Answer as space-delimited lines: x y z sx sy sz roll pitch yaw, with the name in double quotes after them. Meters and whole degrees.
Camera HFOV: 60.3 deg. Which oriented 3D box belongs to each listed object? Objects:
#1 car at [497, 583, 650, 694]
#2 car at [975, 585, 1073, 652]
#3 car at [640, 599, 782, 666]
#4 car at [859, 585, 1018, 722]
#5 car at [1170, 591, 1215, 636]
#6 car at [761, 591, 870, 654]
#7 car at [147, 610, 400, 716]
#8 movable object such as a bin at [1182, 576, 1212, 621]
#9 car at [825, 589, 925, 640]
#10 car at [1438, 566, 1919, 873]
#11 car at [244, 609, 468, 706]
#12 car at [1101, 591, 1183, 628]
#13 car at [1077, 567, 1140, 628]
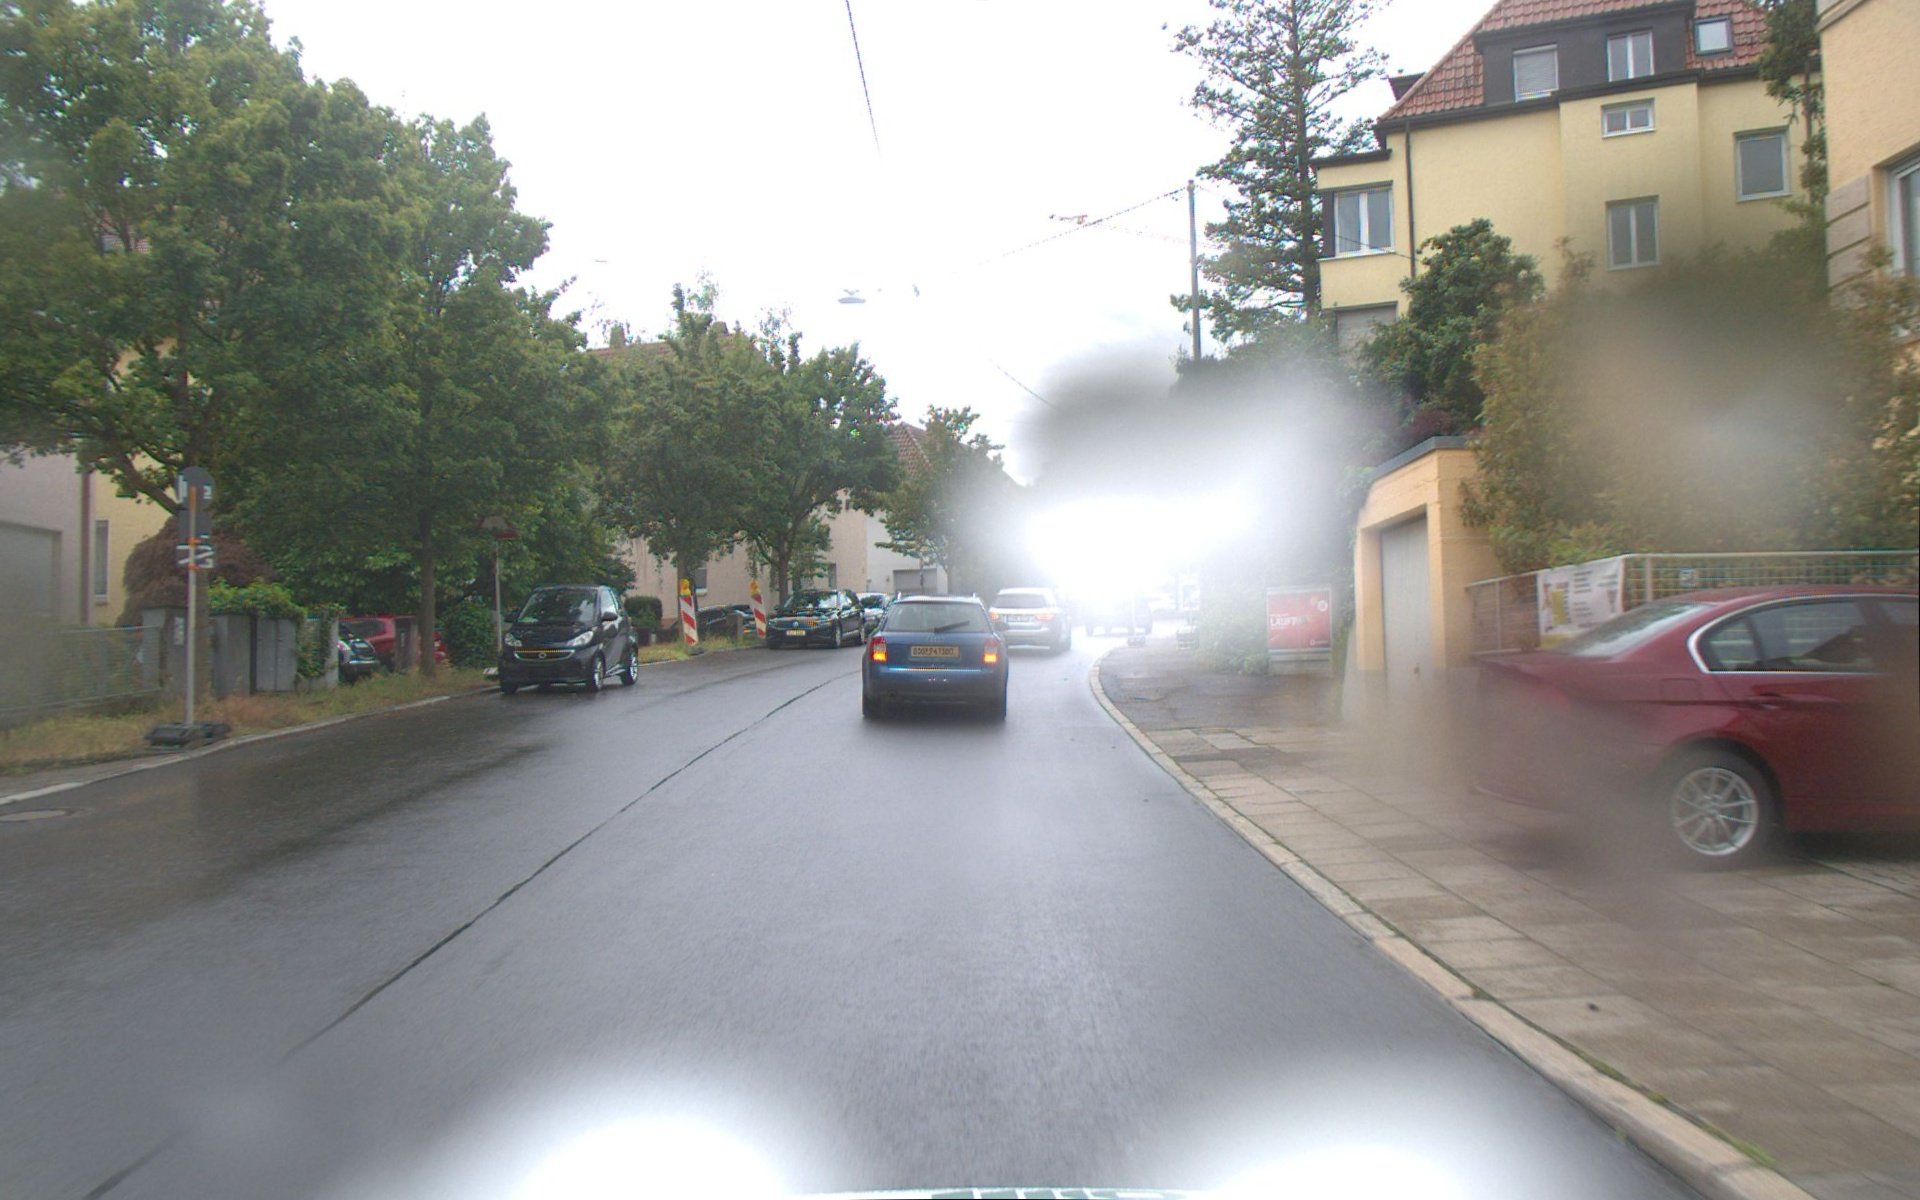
-5.793 0.537 25.076 1.486 1.561 3.037 -1 0 2 "car"
1.550 0.397 38.325 1.868 1.412 4.354 -2 0 7 "car"
-8.300 1.081 55.138 4.157 1.530 1.913 -10 -4 24 "car"
-0.223 0.582 20.429 1.741 1.464 4.000 1 1 0 "car"
9.264 0.533 66.147 1.683 1.689 3.717 1 0 7 "car"
-3.619 0.534 42.230 1.695 1.510 4.534 -1 0 9 "car"
-12.799 1.159 30.967 3.837 1.383 1.829 -8 -2 7 "car"
13.996 -0.107 97.720 1.287 2.549 1.385 -3 -1 27 "movable object such as a bin"
-2.419 0.391 48.218 1.670 1.406 4.534 -1 0 14 "car"
5.000 0.564 9.293 4.084 1.430 1.834 -3 1 2 "car"
-12.442 1.178 34.182 3.837 1.418 1.780 -8 -2 7 "car"
10.266 0.543 93.280 4.114 1.632 1.949 -7 -3 25 "car"
4.957 -0.094 54.768 1.693 1.927 4.059 -1 1 10 "car"
